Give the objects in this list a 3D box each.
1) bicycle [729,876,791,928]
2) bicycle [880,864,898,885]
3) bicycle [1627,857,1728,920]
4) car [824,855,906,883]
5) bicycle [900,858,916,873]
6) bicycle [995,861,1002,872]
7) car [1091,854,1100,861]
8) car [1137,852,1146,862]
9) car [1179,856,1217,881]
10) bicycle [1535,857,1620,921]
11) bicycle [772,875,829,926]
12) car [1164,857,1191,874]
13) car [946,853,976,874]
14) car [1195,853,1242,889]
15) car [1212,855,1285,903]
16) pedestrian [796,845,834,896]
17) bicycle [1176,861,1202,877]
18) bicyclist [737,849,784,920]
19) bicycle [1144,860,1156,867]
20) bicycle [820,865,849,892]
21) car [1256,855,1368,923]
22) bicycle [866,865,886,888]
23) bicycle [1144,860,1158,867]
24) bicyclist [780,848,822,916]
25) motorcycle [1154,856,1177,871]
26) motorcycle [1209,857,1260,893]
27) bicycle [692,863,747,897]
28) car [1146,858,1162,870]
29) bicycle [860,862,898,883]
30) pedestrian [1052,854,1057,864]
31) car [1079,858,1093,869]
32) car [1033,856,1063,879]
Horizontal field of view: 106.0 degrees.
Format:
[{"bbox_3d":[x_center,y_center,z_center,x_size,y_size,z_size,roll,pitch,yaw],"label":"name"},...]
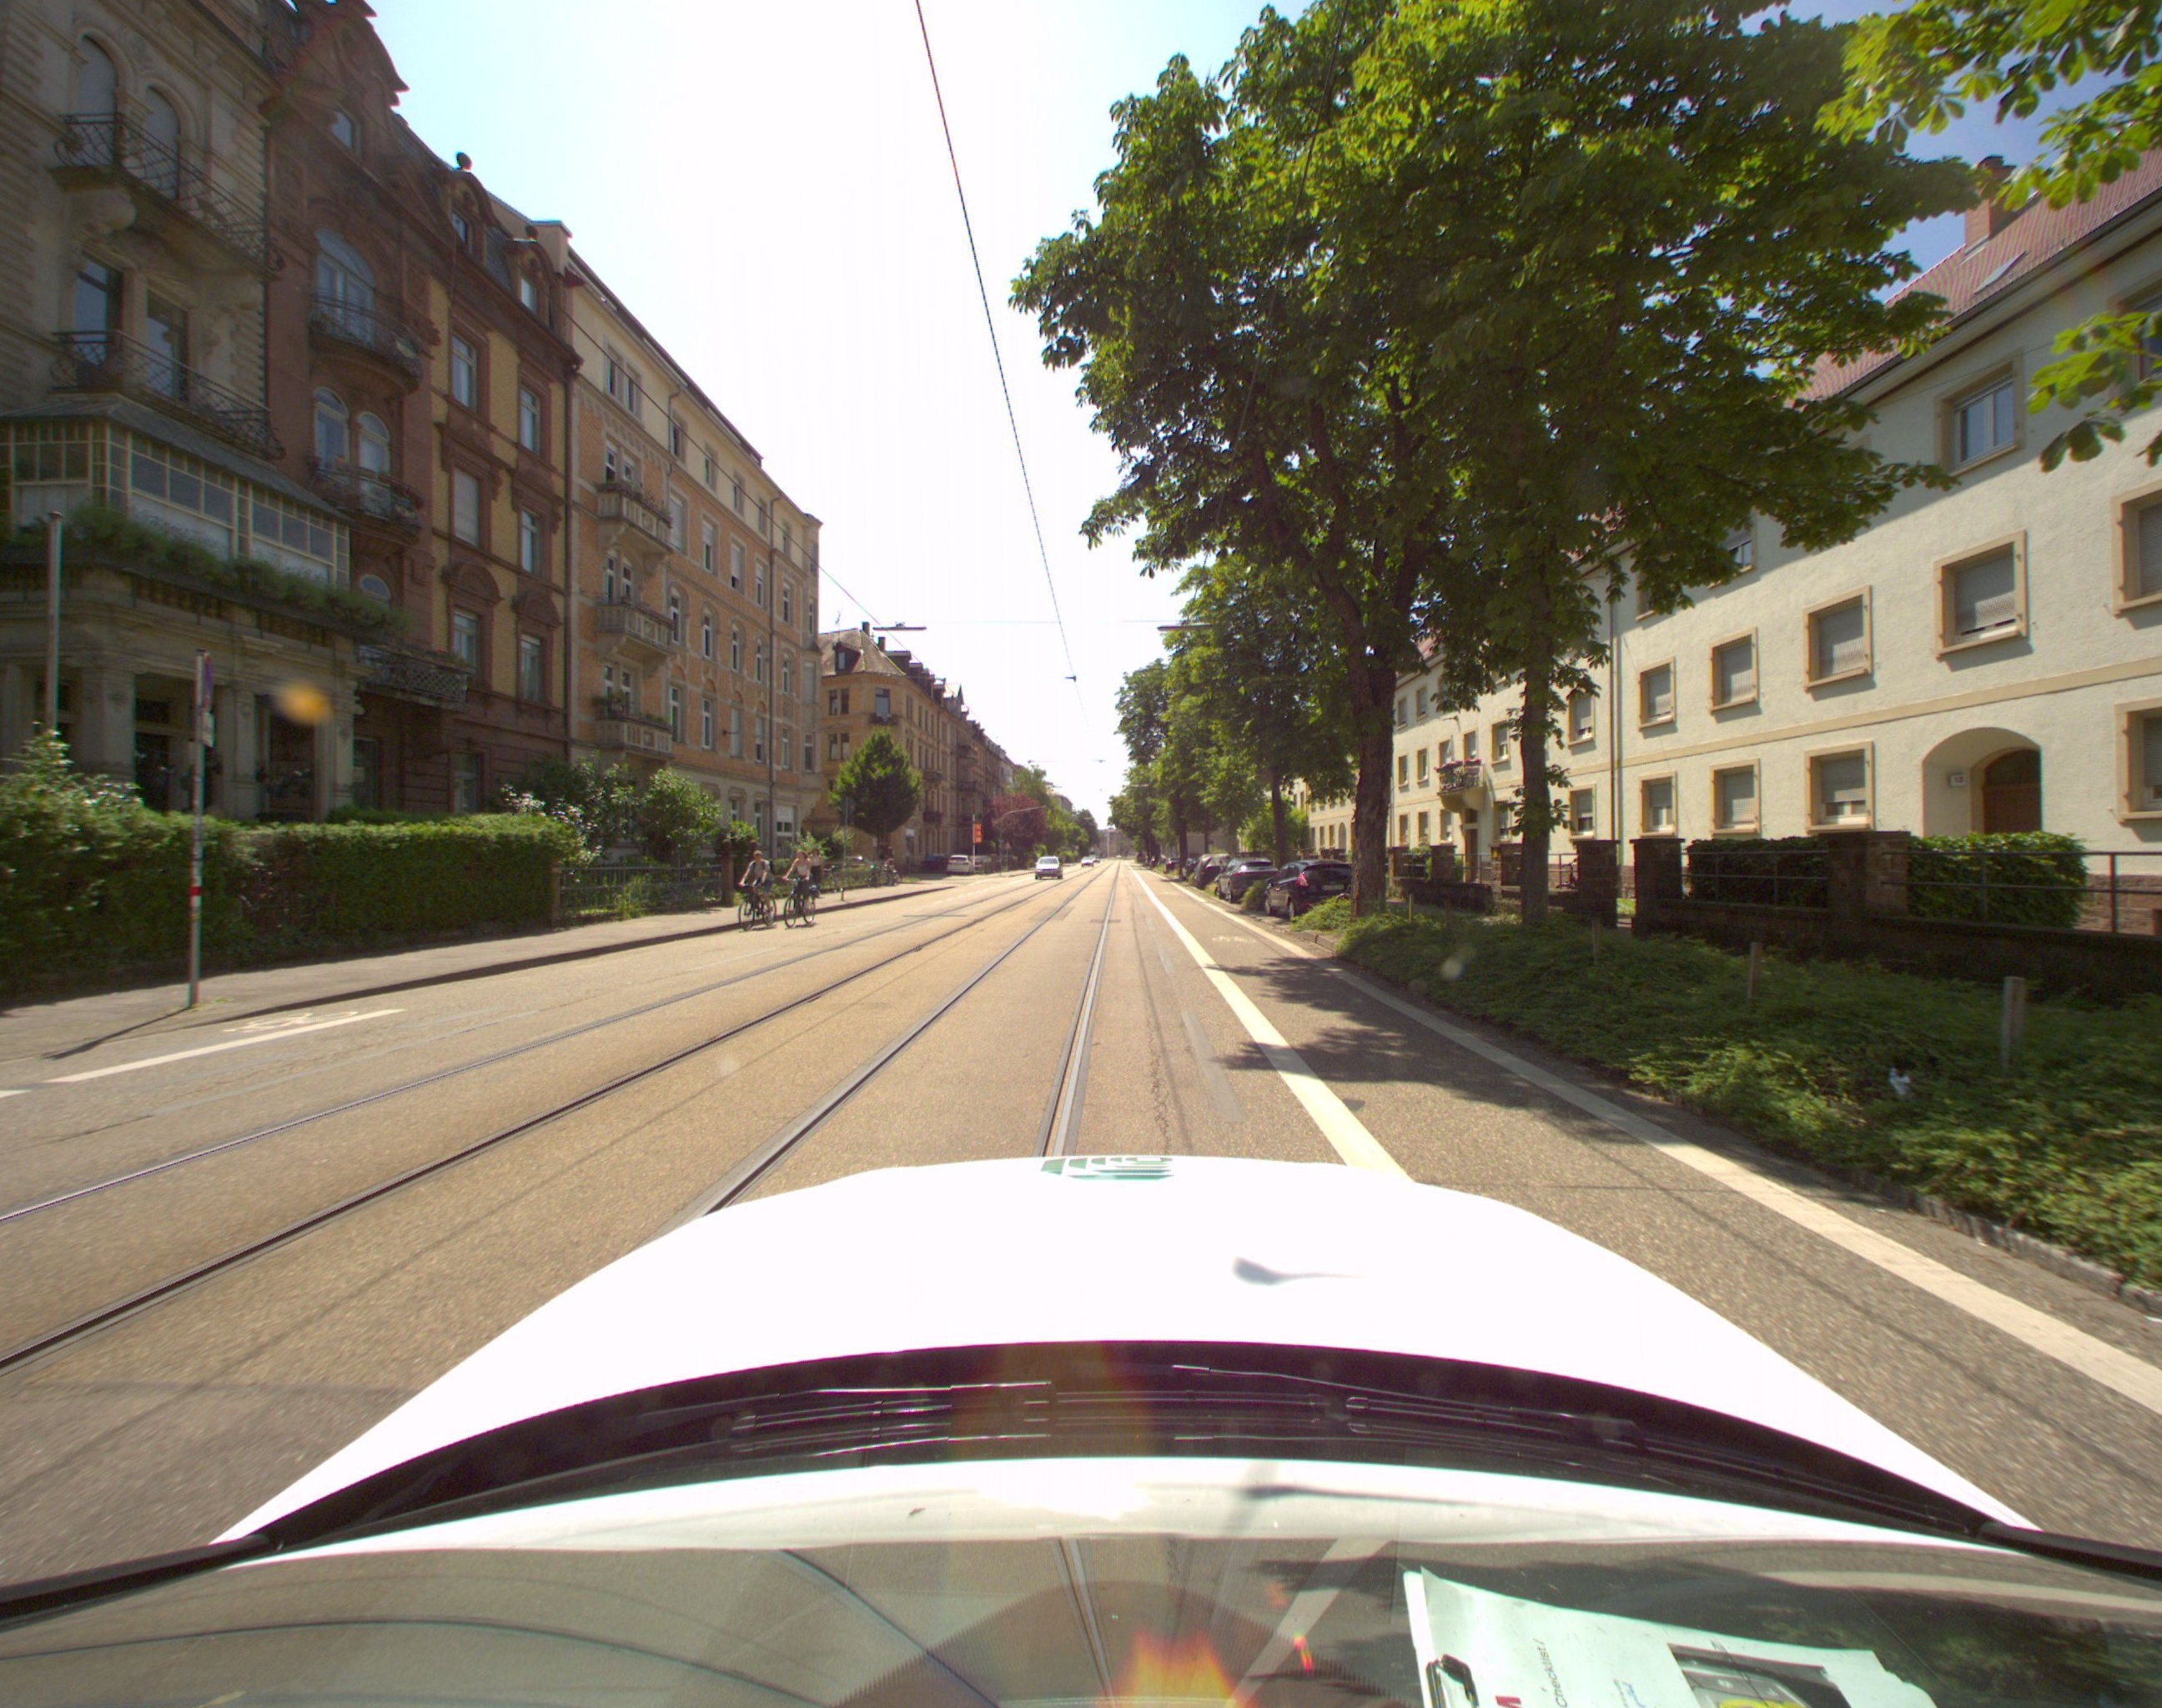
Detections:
[{"bbox_3d":[-7.408,1.089,18.881,0.626,1.078,1.876,-1,0,2],"label":"bicycle"},{"bbox_3d":[-9.202,0.974,39.099,0.437,0.983,1.711,0,0,1],"label":"bicycle"},{"bbox_3d":[11.707,0.649,16.060,0.594,1.126,1.972,-4,-1,4],"label":"bicycle"},{"bbox_3d":[-11.250,0.793,42.574,3.744,1.428,1.714,0,-1,3],"label":"car"},{"bbox_3d":[-13.689,0.923,64.566,0.635,1.187,2.148,0,0,6],"label":"bicycle"},{"bbox_3d":[-7.532,1.149,74.187,0.452,1.003,1.806,0,0,-1],"label":"bicycle"},{"bbox_3d":[3.096,0.780,174.767,1.679,1.454,3.751,0,0,3],"label":"car"},{"bbox_3d":[13.279,0.634,179.086,1.985,2.035,4.700,0,0,3],"label":"car"},{"bbox_3d":[7.087,0.833,49.760,1.689,1.419,4.357,0,0,0],"label":"car"},{"bbox_3d":[10.179,0.689,16.778,0.594,1.209,1.971,-2,0,3],"label":"bicycle"},{"bbox_3d":[-6.524,1.064,19.026,0.579,1.078,1.891,-1,0,2],"label":"bicycle"},{"bbox_3d":[8.139,0.956,69.152,1.763,1.426,4.862,0,0,0],"label":"car"},{"bbox_3d":[-9.570,0.750,65.194,1.861,1.600,4.098,1,0,-2],"label":"car"},{"bbox_3d":[6.610,0.771,39.685,1.938,1.651,4.887,0,0,6],"label":"car"},{"bbox_3d":[5.835,0.818,28.878,1.726,1.552,4.454,0,0,1],"label":"car"},{"bbox_3d":[-9.388,0.562,28.799,0.848,1.723,1.139,3,0,3],"label":"pedestrian"},{"bbox_3d":[7.199,1.006,54.334,1.650,1.078,0.605,0,0,-5],"label":"bicycle"},{"bbox_3d":[-7.418,0.683,18.897,0.631,1.584,1.029,-1,0,2],"label":"bicyclist"},{"bbox_3d":[11.378,1.548,134.313,1.809,1.113,0.493,-1,-2,2],"label":"bicycle"},{"bbox_3d":[-9.644,0.942,31.920,0.495,0.987,1.711,4,0,1],"label":"bicycle"},{"bbox_3d":[5.615,0.787,20.276,1.651,1.515,3.999,0,0,0],"label":"car"},{"bbox_3d":[-9.312,1.020,37.058,0.437,0.983,1.711,0,0,1],"label":"bicycle"},{"bbox_3d":[10.310,1.451,120.008,1.878,1.052,0.539,0,-1,9],"label":"bicycle"},{"bbox_3d":[-6.530,0.645,19.045,0.590,1.544,0.952,-1,0,2],"label":"bicyclist"},{"bbox_3d":[8.766,1.014,84.509,0.874,1.540,2.292,0,0,-45],"label":"motorcycle"},{"bbox_3d":[6.167,0.842,32.718,1.911,1.433,0.670,0,0,-7],"label":"motorcycle"},{"bbox_3d":[-11.171,0.809,25.192,1.503,1.043,0.495,0,0,3],"label":"bicycle"},{"bbox_3d":[9.519,1.311,106.048,1.767,1.501,4.307,-1,0,2],"label":"car"},{"bbox_3d":[-10.042,0.927,40.515,1.696,1.037,0.552,0,0,6],"label":"bicycle"},{"bbox_3d":[-4.106,0.821,127.318,0.749,1.629,0.832,0,-1,-3],"label":"pedestrian"},{"bbox_3d":[0.682,1.318,115.266,1.749,1.424,4.003,-1,0,3],"label":"car"},{"bbox_3d":[-2.167,0.850,54.253,1.678,1.449,4.002,-1,0,2],"label":"car"}]
